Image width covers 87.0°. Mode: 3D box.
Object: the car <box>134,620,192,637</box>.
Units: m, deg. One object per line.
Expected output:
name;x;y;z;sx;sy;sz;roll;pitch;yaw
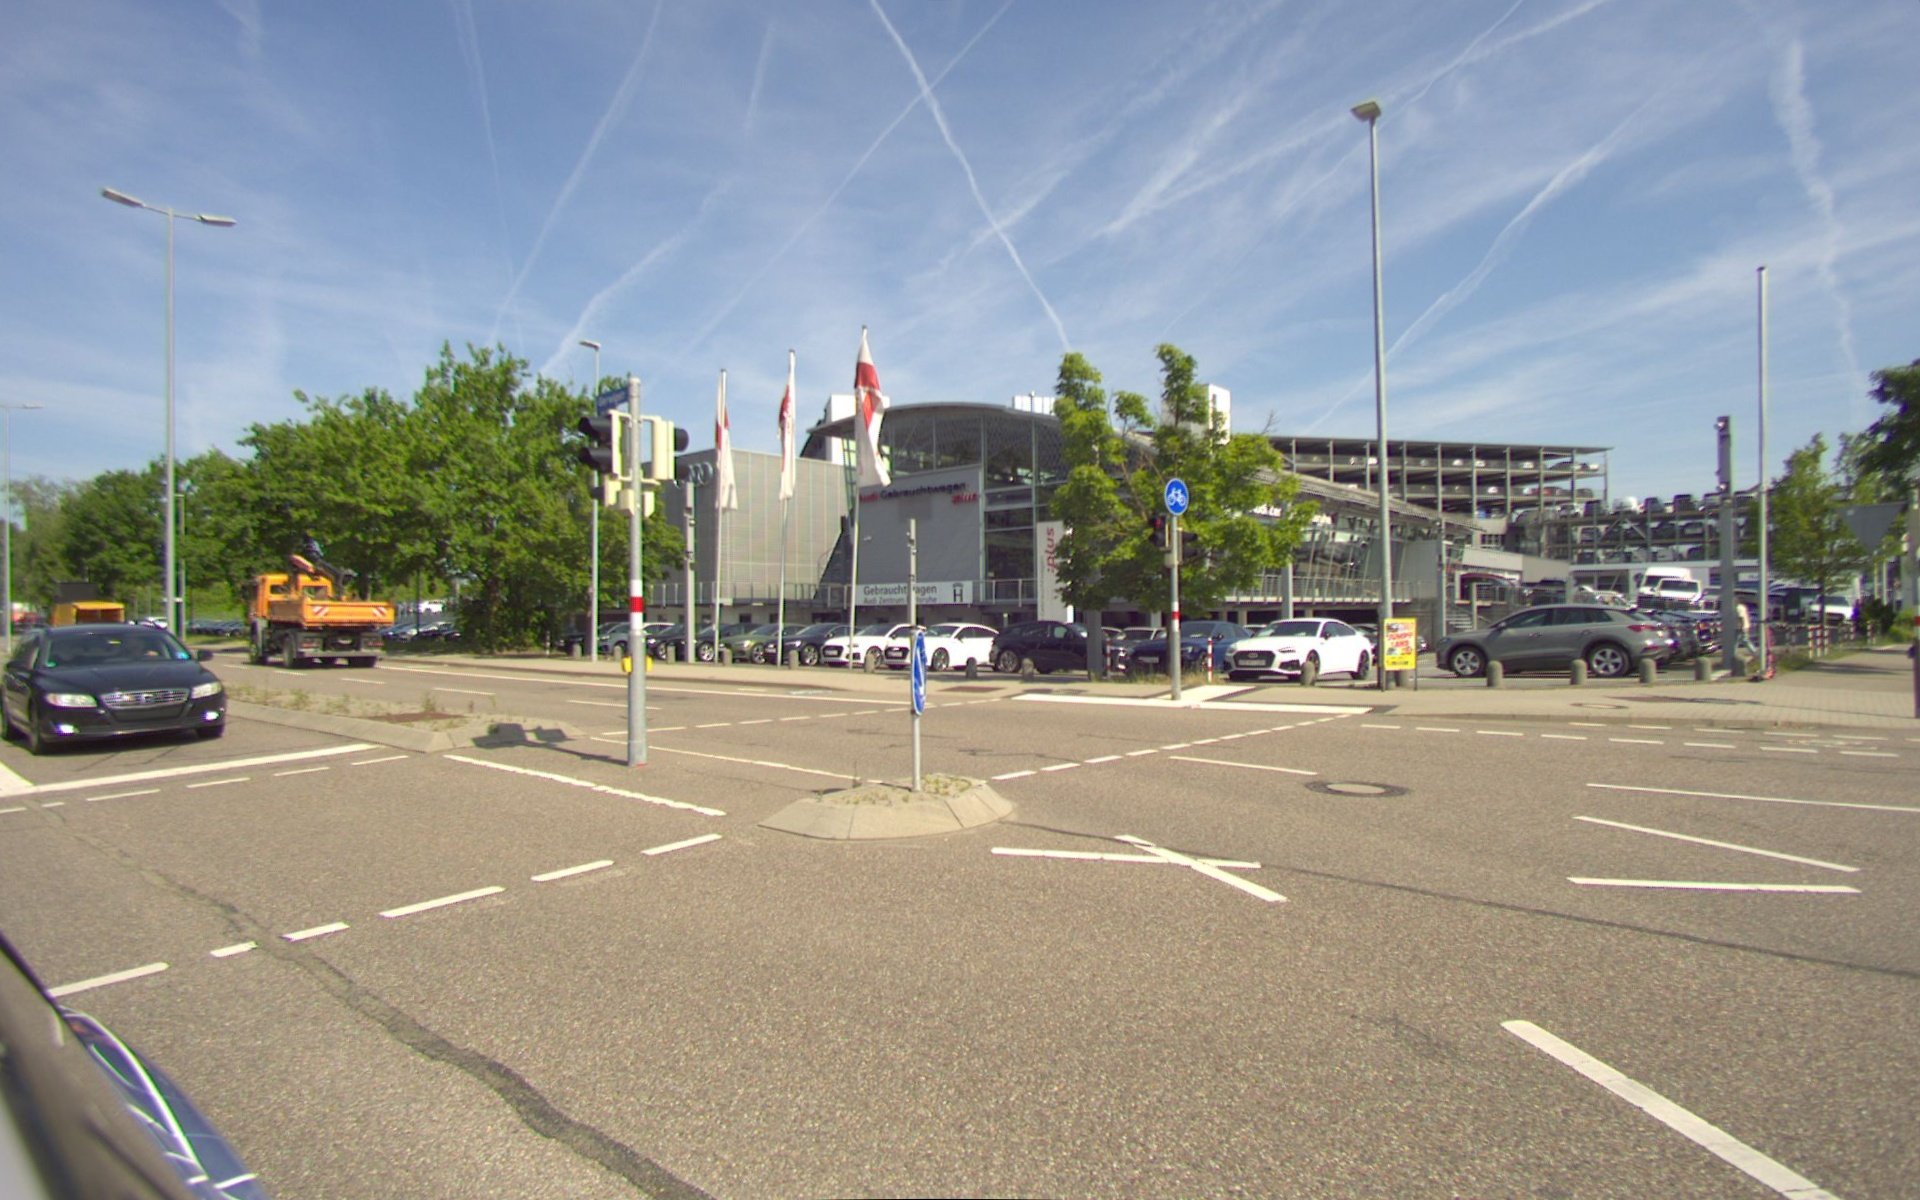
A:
car;-77.004;2.762;97.787;1.690;1.511;4.141;-2;-4;42

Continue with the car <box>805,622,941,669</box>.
car;-2.586;1.412;30.893;1.868;1.329;3.945;-1;-4;41

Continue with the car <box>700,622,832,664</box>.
car;-6.540;1.498;34.449;1.853;1.345;4.131;-1;-4;41

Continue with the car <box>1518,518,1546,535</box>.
car;68.589;-8.816;121.325;2.037;1.729;3.944;-1;-1;42

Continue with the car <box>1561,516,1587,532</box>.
car;76.858;-9.517;126.690;2.037;1.729;3.944;-1;-1;42

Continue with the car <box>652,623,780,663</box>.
car;-8.724;1.573;36.470;1.828;1.365;4.237;-1;-4;40

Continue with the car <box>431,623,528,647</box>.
car;-24.572;1.811;51.841;1.719;1.131;4.141;-2;-4;42

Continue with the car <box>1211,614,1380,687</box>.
car;7.484;1.043;22.332;1.900;1.443;4.325;-2;-1;43

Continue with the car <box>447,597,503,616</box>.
car;-43.316;0.578;90.376;1.690;1.511;4.141;-2;-4;42

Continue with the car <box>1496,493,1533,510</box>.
car;72.965;-12.946;133.205;3.993;1.729;2.012;-1;-1;37

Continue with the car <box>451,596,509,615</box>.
car;-41.776;0.519;88.142;1.690;1.416;4.141;-2;-4;42

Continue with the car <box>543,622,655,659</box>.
car;-14.852;1.686;41.805;1.808;1.413;3.983;-1;-4;40

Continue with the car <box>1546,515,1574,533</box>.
car;71.079;-8.986;119.904;2.037;1.729;3.944;-1;-1;42

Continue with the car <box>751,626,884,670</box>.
car;-4.514;1.540;32.423;1.837;1.329;3.944;-2;-4;42

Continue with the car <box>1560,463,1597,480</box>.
car;82.308;-17.110;134.709;3.993;1.729;2.012;-1;-1;37

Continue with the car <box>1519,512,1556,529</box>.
car;75.750;-10.402;132.752;3.995;2.028;1.974;0;2;39

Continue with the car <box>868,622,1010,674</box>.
car;-0.547;1.381;29.070;1.877;1.380;4.030;-1;-4;41

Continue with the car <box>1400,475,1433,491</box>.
car;64.780;-16.601;143.690;3.993;1.729;2.012;-1;-1;37

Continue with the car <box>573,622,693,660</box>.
car;-12.858;1.654;39.959;1.801;1.405;4.172;-1;-4;40

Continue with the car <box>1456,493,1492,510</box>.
car;68.203;-13.079;134.344;3.993;1.729;2.012;-1;-1;37

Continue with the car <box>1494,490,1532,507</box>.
car;71.736;-13.101;131.283;3.993;1.729;2.012;-1;-1;37

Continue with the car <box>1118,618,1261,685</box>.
car;5.460;1.152;23.798;1.762;1.413;3.796;-1;-1;39

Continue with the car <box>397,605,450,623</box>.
car;-51.472;1.367;97.082;1.690;1.511;4.141;-2;-4;42

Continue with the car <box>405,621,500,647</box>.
car;-26.835;1.809;53.594;1.690;1.256;4.141;-2;-4;42

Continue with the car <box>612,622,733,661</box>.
car;-10.787;1.594;38.218;1.834;1.365;4.069;-1;-4;39

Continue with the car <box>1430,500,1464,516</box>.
car;67.557;-12.746;140.379;3.993;1.729;2.012;-1;-1;37

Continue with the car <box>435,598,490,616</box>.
car;-45.299;0.658;92.257;1.690;1.511;4.141;-2;-4;42

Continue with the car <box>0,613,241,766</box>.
car;-11.060;1.011;13.027;4.867;1.533;1.858;-2;1;42

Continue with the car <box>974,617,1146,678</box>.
car;2.612;1.224;27.141;4.424;1.507;1.779;-2;-1;42

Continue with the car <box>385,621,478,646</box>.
car;-28.770;1.842;55.172;1.690;1.204;4.141;-2;-4;42

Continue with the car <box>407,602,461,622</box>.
car;-49.484;1.170;95.326;1.690;1.745;4.141;-2;-4;42

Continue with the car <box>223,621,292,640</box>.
car;-54.560;2.404;78.634;1.690;1.333;4.141;-2;-4;42

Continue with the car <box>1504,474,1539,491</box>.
car;77.646;-16.223;139.922;3.993;1.729;2.012;-1;-1;37
